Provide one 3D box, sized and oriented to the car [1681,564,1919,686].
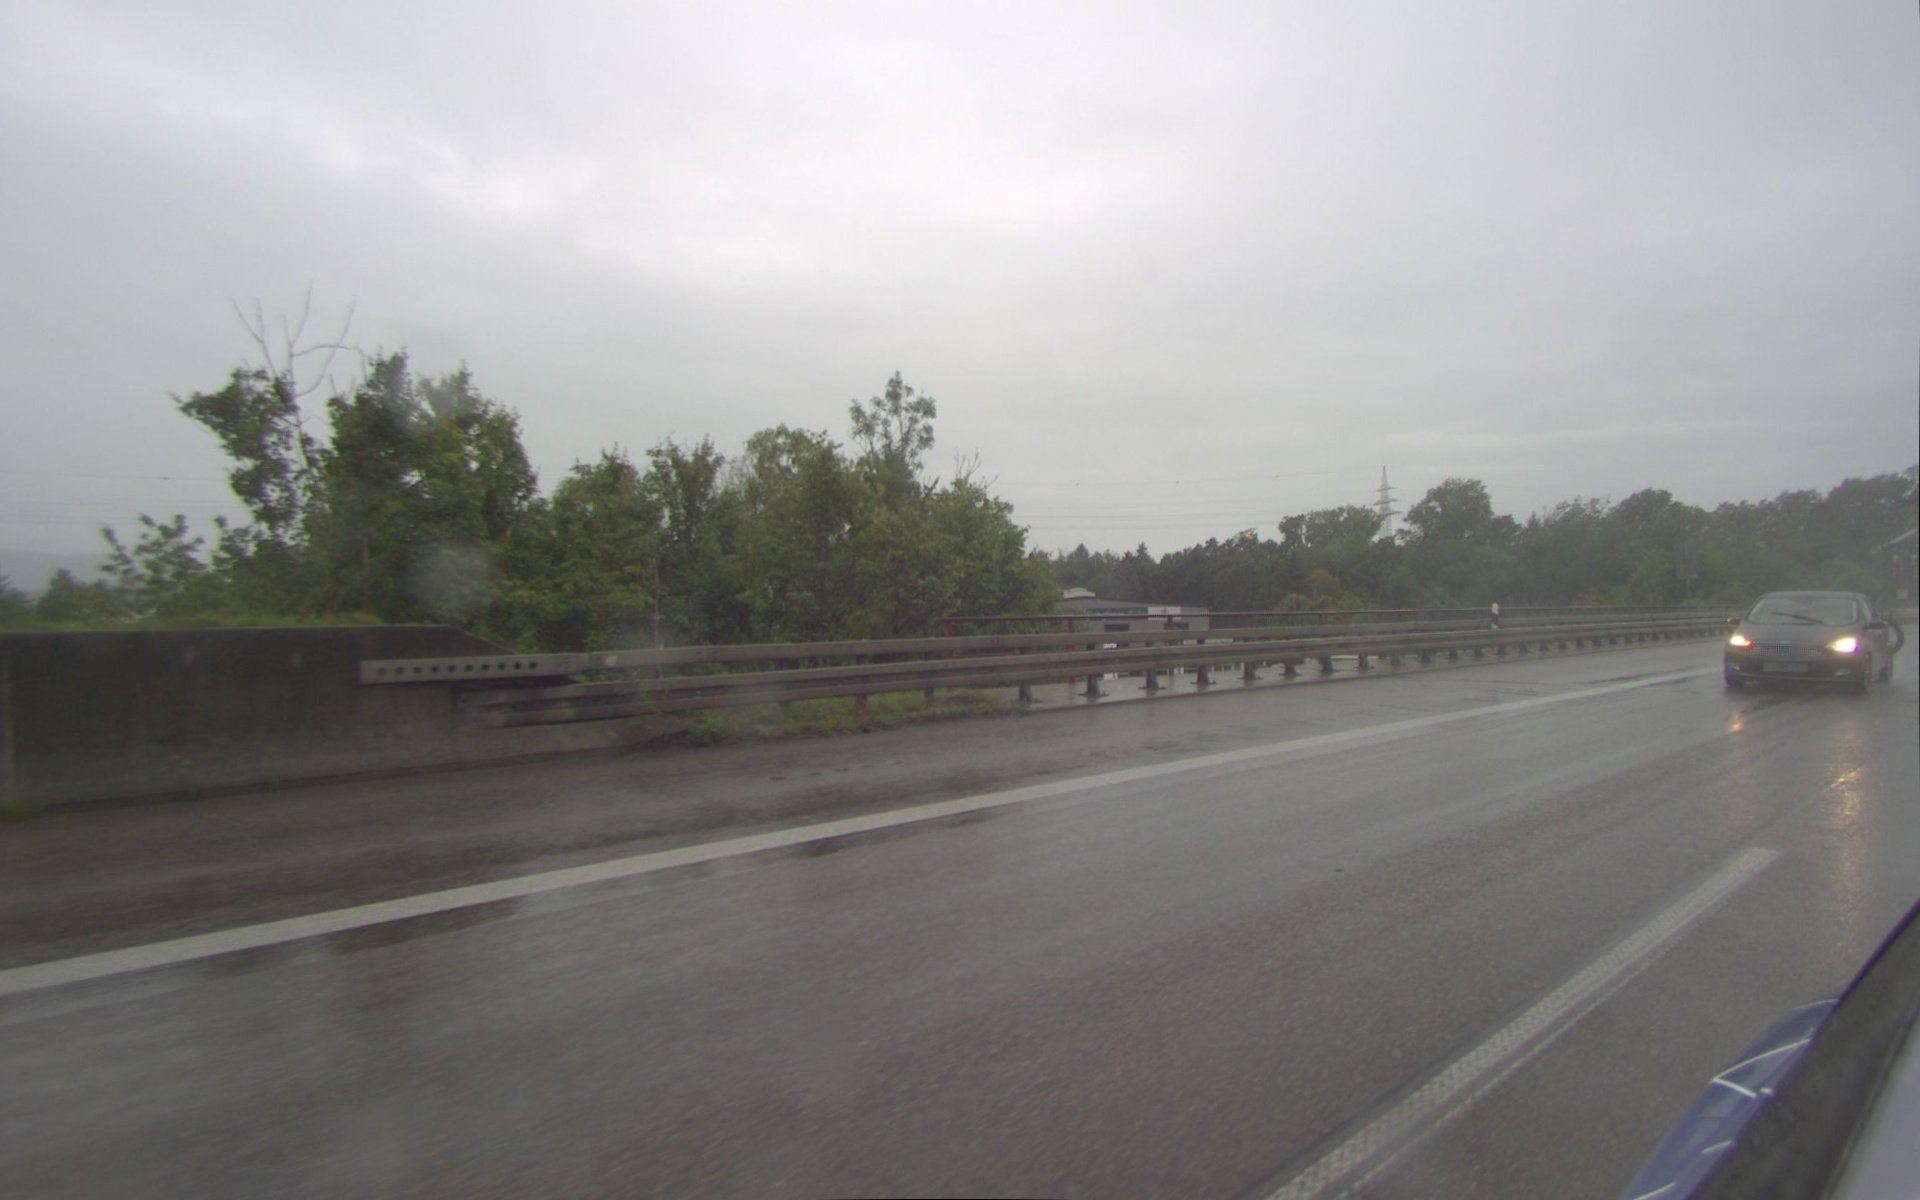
[{"bbox_3d":[14.685,0.349,17.503,5.621,1.768,2.461,0,0,-42],"label":"car"}]
